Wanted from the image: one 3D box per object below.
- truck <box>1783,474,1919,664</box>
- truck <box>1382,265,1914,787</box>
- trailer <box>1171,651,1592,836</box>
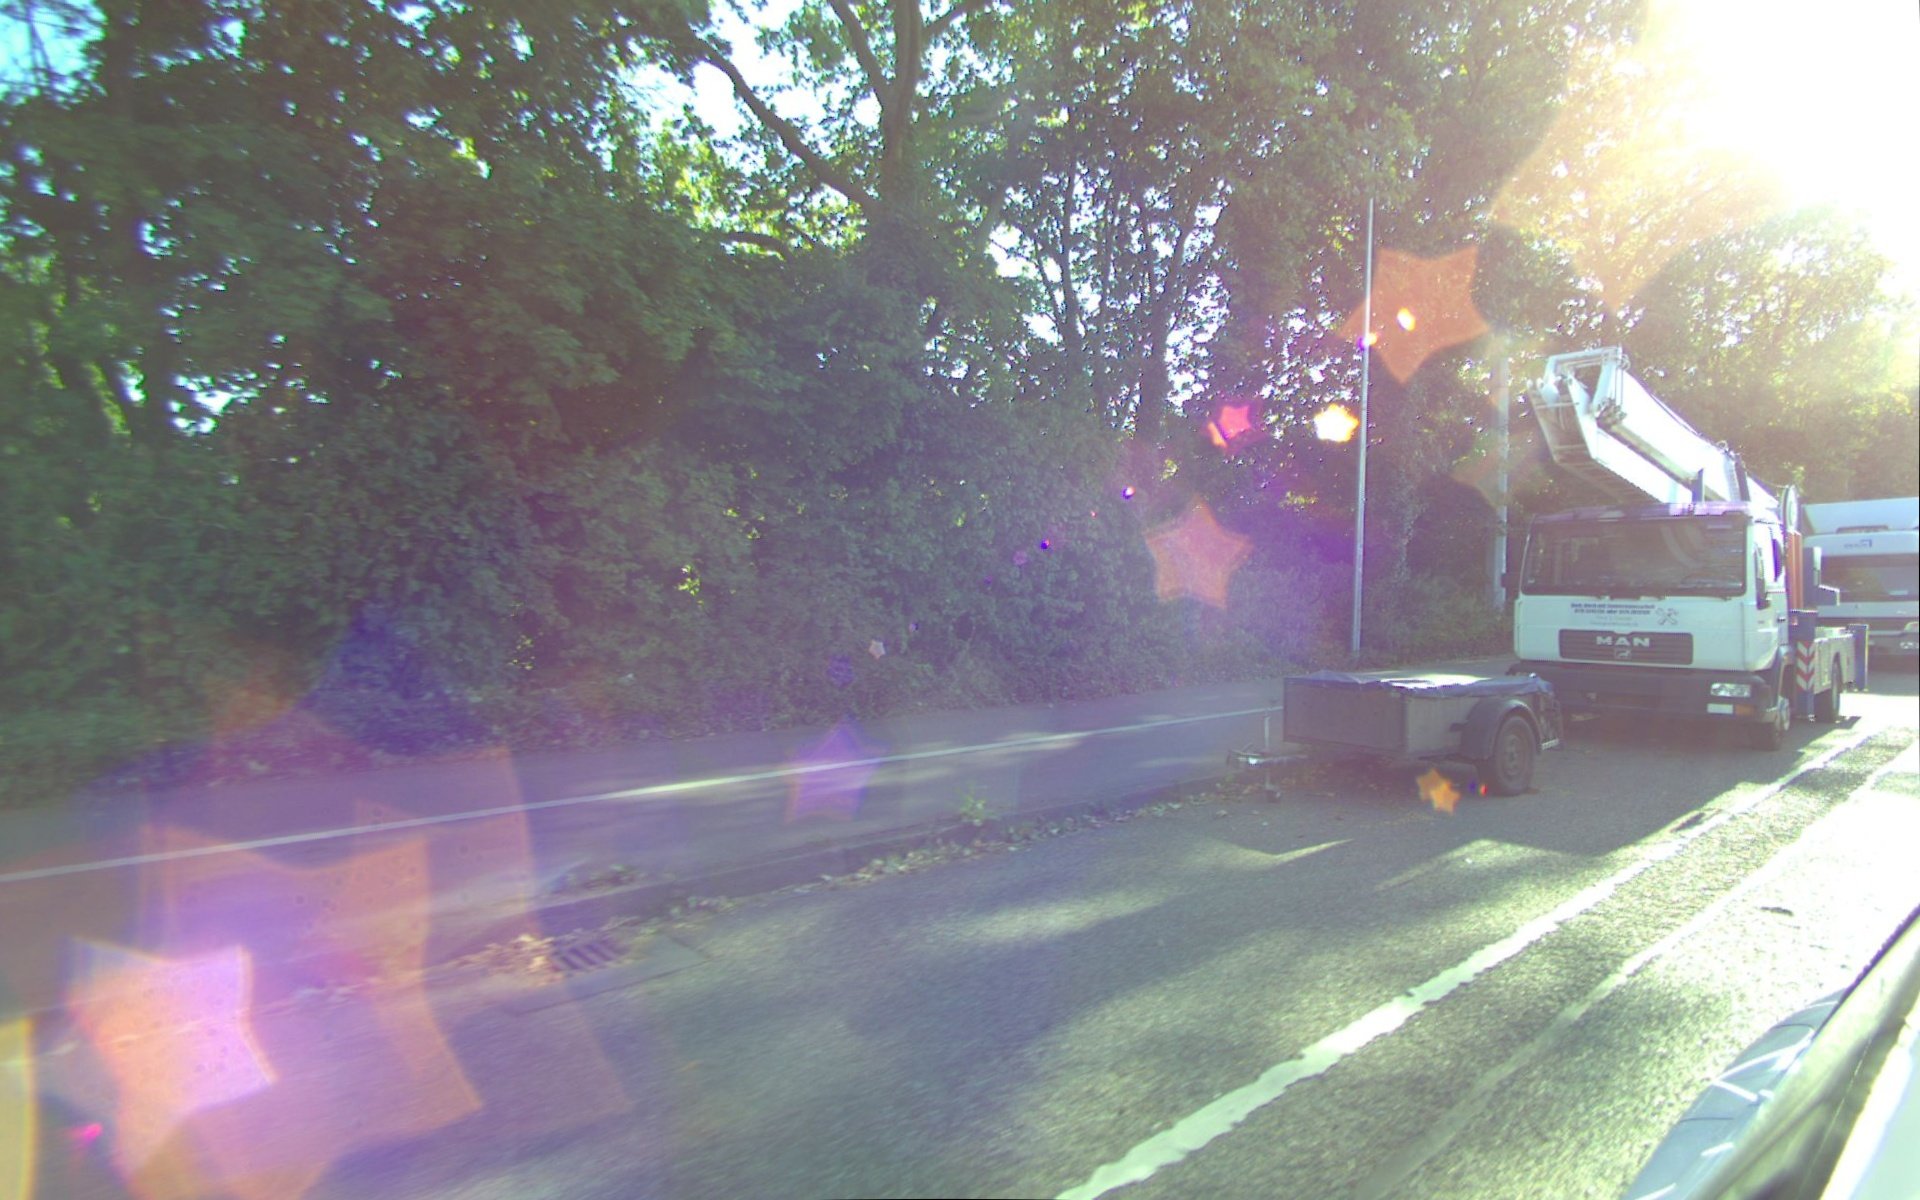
[{"bbox_3d":[22.525,-0.638,24.235,9.913,3.831,2.746,0,0,-41],"label":"truck"},{"bbox_3d":[8.454,-0.562,11.620,9.591,3.831,2.721,0,0,-41],"label":"truck"},{"bbox_3d":[3.302,0.929,7.675,3.440,0.870,1.579,0,1,-41],"label":"trailer"}]
